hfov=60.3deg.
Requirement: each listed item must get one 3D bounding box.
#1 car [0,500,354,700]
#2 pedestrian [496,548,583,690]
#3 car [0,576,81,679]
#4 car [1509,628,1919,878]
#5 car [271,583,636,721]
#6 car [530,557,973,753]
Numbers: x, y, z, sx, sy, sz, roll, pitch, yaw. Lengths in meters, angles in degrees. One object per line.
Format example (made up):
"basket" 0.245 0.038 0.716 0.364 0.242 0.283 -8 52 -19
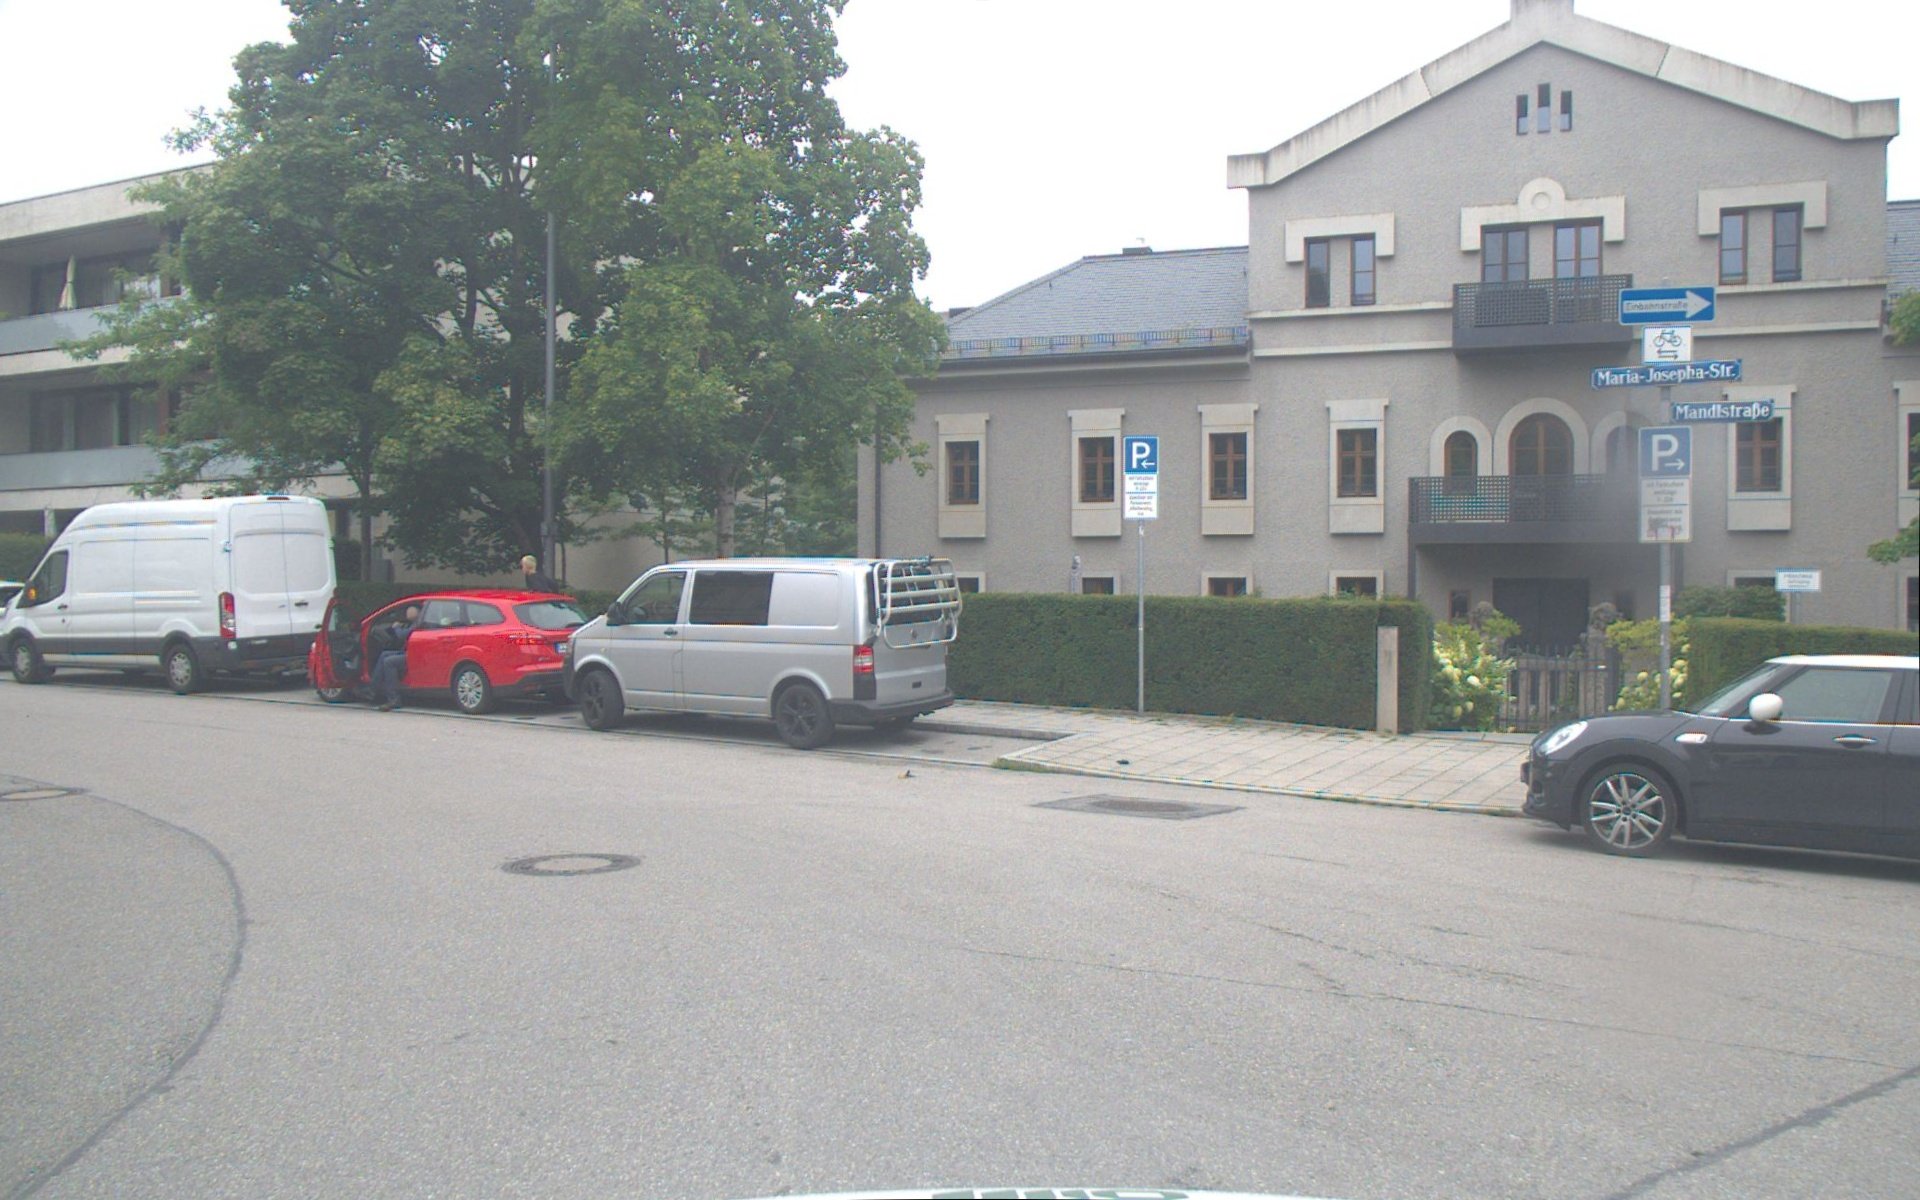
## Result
"car" -12.026 -0.093 24.883 5.954 2.733 2.083 1 3 30
"pedestrian" -5.906 0.261 23.235 0.848 1.937 0.794 1 -1 37
"car" -17.550 0.406 28.447 4.890 1.596 1.875 1 3 28
"car" 6.145 1.048 11.559 4.170 1.472 1.896 2 -1 25
"car" -6.736 0.609 21.874 4.731 1.533 1.874 1 3 30
"car" -2.458 0.509 19.044 4.964 1.937 1.937 1 3 32
